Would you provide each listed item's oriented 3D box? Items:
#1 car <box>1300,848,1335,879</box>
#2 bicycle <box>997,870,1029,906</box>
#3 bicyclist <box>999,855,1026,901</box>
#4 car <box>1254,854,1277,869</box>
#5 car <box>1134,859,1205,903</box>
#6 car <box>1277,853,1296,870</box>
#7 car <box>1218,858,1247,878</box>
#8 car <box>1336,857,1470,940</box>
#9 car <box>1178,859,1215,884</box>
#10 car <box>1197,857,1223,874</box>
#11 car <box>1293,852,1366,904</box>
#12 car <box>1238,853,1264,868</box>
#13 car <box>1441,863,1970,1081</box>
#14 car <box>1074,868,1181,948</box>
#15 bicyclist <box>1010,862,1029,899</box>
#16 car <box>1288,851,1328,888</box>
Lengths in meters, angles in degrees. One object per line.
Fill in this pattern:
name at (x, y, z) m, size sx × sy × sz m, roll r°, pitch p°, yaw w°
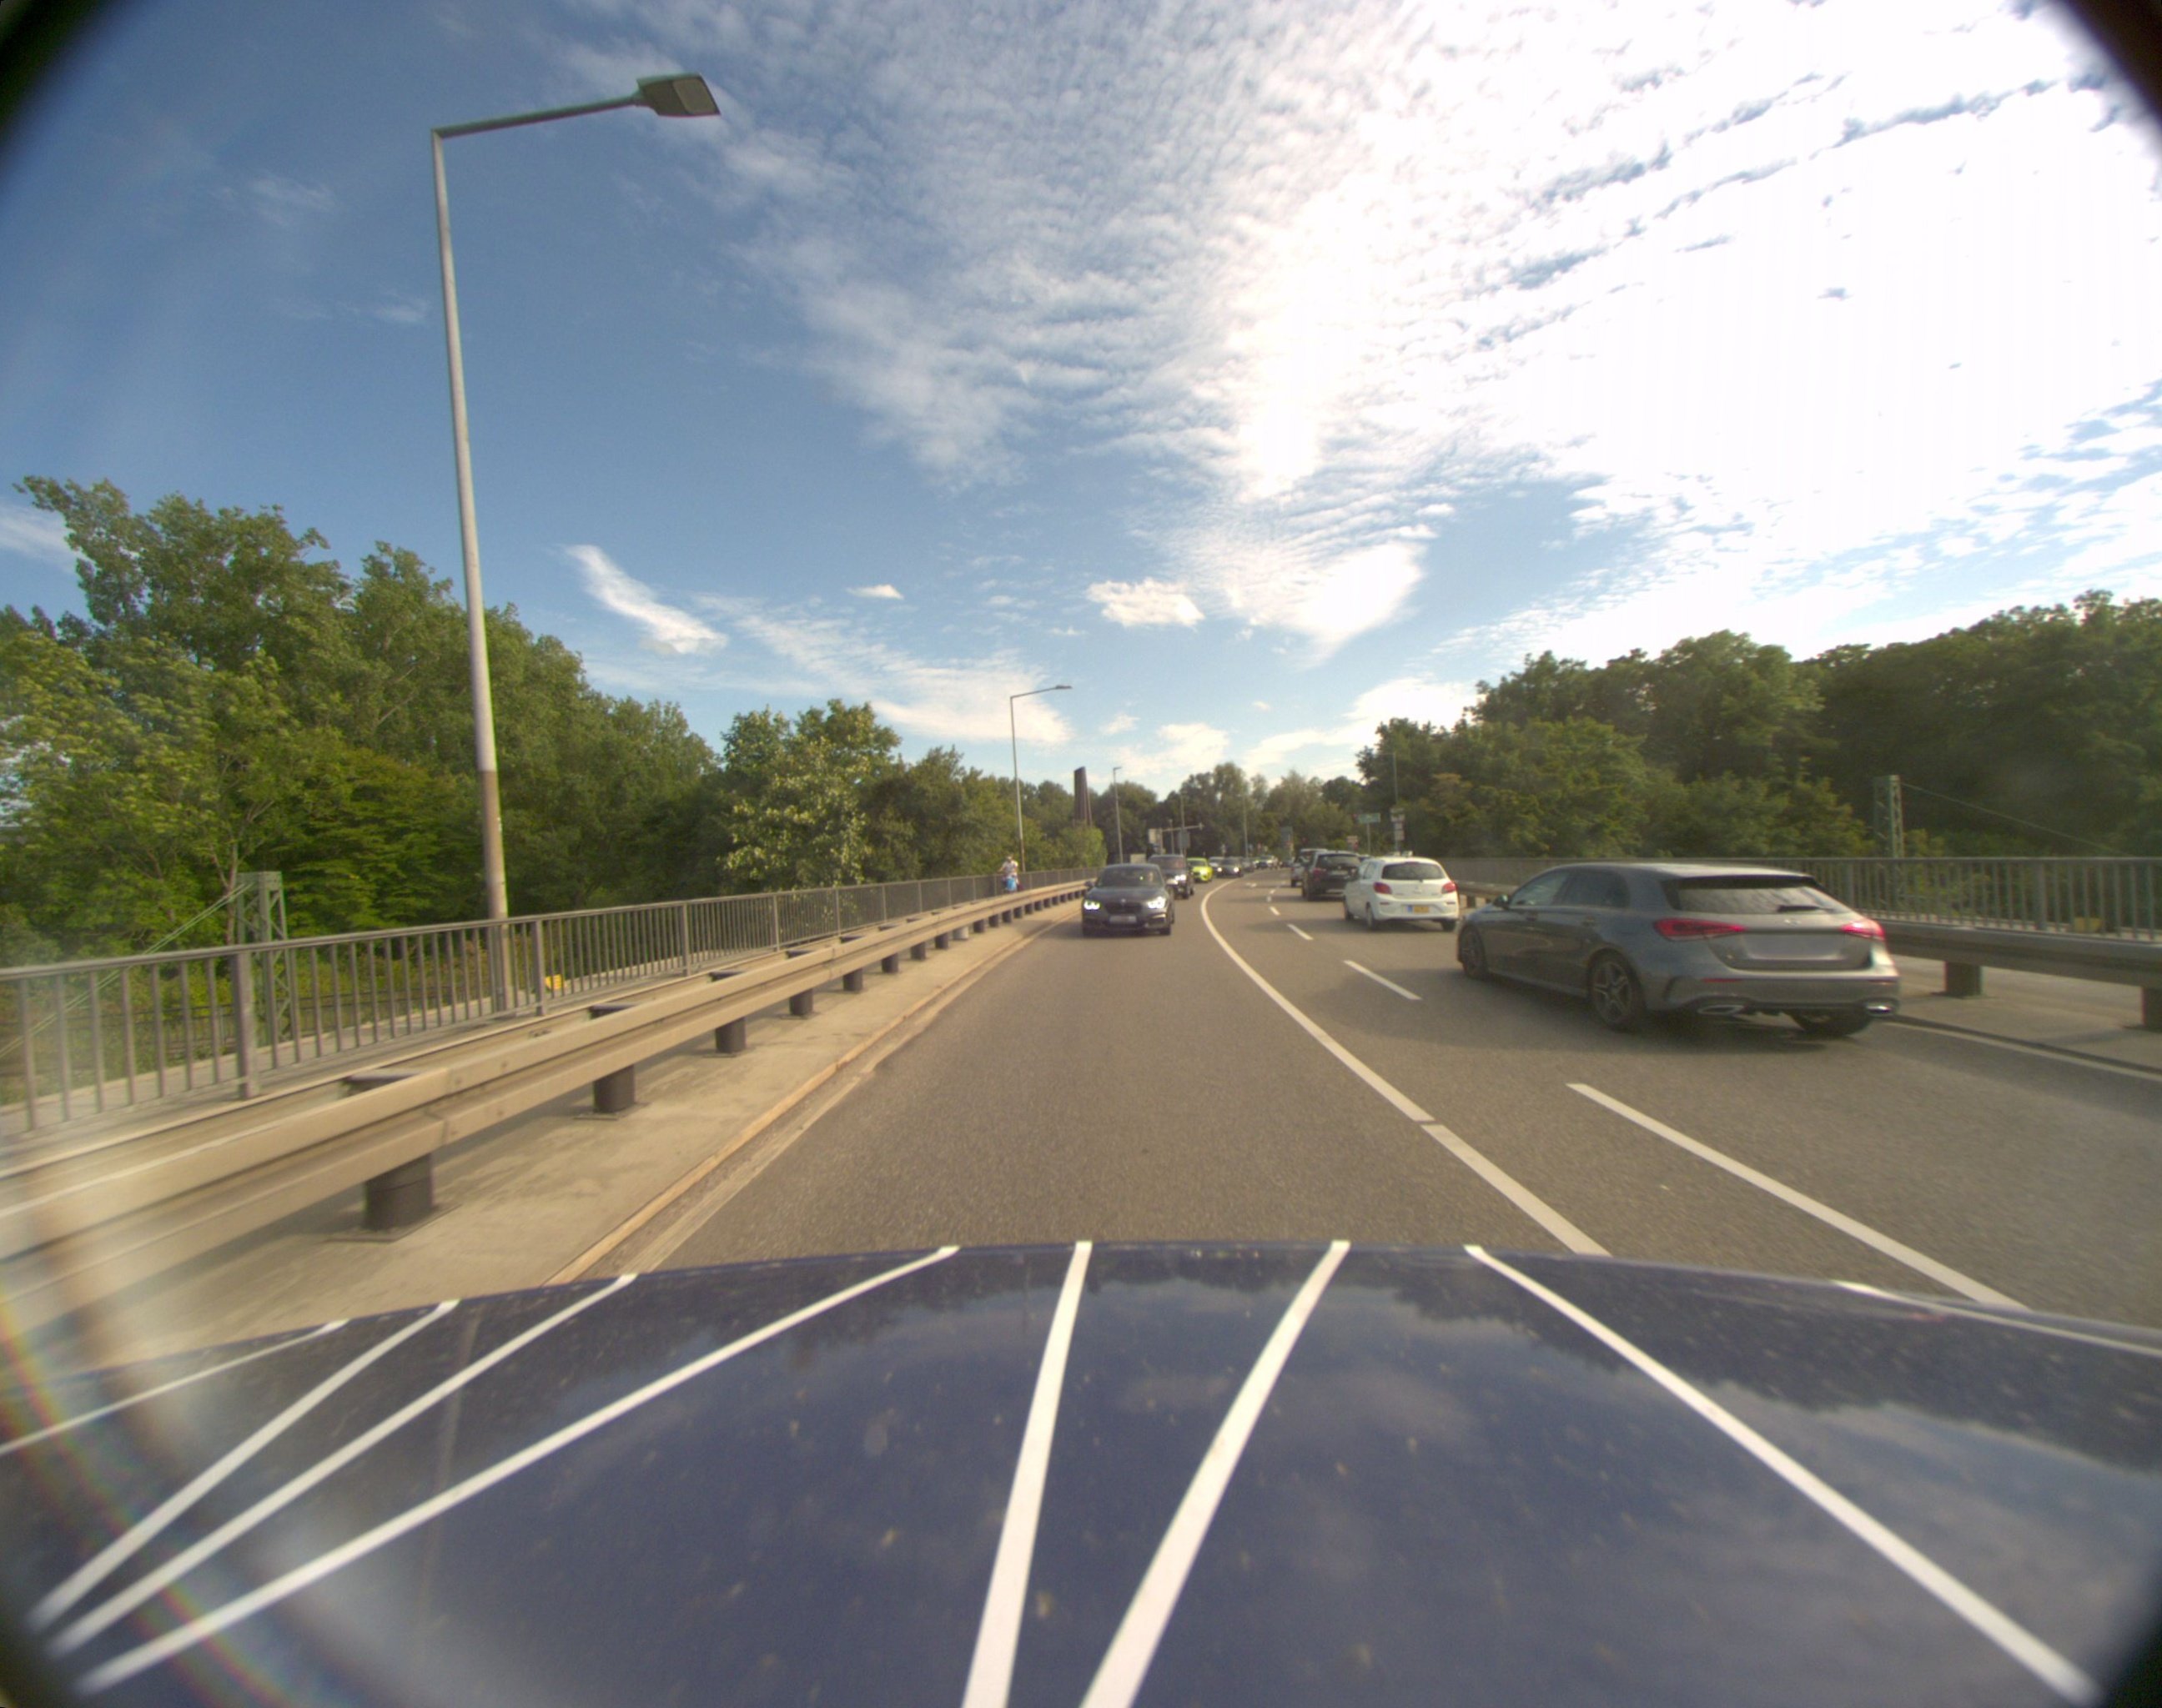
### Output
car at (15.841, 0.611, 50.793) m, size 1.987 × 1.953 × 5.055 m, roll -1°, pitch 0°, yaw 20°
bicycle at (-2.330, 1.152, 26.080) m, size 0.596 × 1.114 × 1.698 m, roll -1°, pitch 0°, yaw 12°
bicyclist at (-2.337, 0.824, 26.088) m, size 0.708 × 1.548 × 0.754 m, roll -1°, pitch 1°, yaw 11°
car at (21.127, 0.838, 86.904) m, size 1.995 × 1.591 × 4.287 m, roll -1°, pitch 0°, yaw 22°
car at (3.481, 0.990, 29.128) m, size 1.816 × 1.498 × 4.397 m, roll -1°, pitch 0°, yaw 18°
car at (25.981, 0.913, 96.056) m, size 1.996 × 2.002 × 4.278 m, roll -1°, pitch 0°, yaw 20°
car at (10.959, 1.006, 54.701) m, size 1.689 × 1.315 × 3.789 m, roll -1°, pitch 0°, yaw 16°
car at (6.707, 0.859, 16.254) m, size 1.686 × 1.536 × 3.925 m, roll -1°, pitch 0°, yaw 8°
car at (6.891, 0.997, 44.995) m, size 1.817 × 1.396 × 4.395 m, roll -1°, pitch 0°, yaw 13°
car at (10.765, 0.912, 63.018) m, size 1.689 × 1.315 × 3.789 m, roll -1°, pitch 0°, yaw 16°
car at (8.540, 0.773, 26.468) m, size 1.872 × 1.656 × 4.634 m, roll -1°, pitch 0°, yaw 12°
car at (15.788, 0.614, 70.403) m, size 1.688 × 1.315 × 3.790 m, roll -1°, pitch 0°, yaw 23°
car at (5.317, 0.845, 7.406) m, size 1.817 × 1.448 × 4.326 m, roll -1°, pitch 0°, yaw 4°
car at (1.111, 1.043, 16.099) m, size 1.784 × 1.396 × 3.974 m, roll -1°, pitch 0°, yaw 10°
bicyclist at (-2.143, 0.926, 26.644) m, size 0.500 × 1.294 × 0.539 m, roll -1°, pitch 1°, yaw 11°
car at (11.226, 0.749, 37.799) m, size 1.776 × 1.736 × 3.841 m, roll -1°, pitch 0°, yaw 15°
